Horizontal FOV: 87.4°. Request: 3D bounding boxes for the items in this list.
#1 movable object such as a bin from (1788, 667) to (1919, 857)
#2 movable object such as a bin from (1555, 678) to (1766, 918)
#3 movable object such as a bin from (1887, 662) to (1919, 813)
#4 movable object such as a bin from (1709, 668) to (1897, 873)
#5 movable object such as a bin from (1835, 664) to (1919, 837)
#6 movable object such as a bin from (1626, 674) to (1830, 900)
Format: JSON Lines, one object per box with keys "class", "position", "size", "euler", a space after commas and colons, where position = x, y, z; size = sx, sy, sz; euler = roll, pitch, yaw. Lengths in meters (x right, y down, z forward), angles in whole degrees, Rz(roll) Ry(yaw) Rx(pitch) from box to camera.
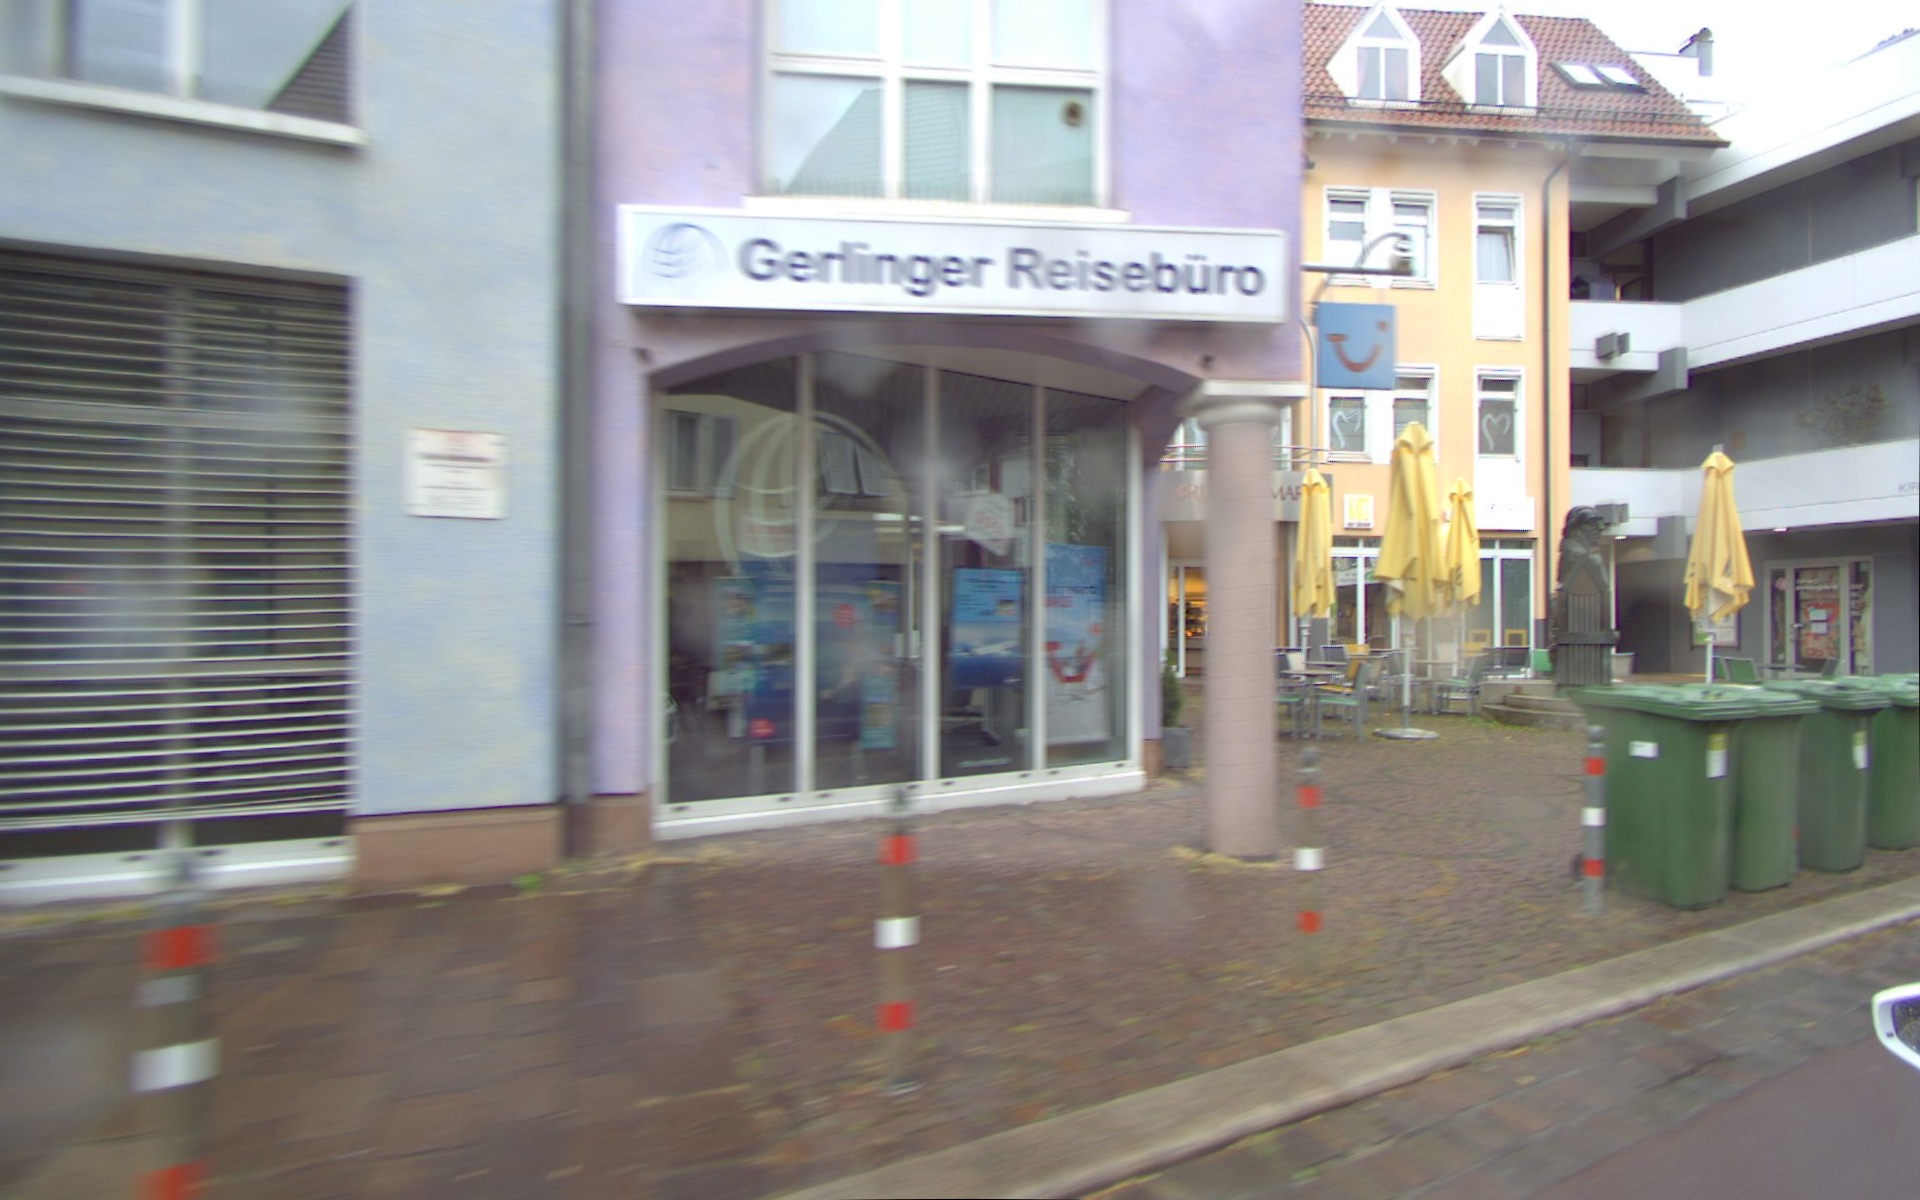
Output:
{"class": "movable object such as a bin", "position": [6.020, 1.022, 6.613], "size": [0.661, 1.120, 0.683], "euler": [1, -1, -29]}
{"class": "movable object such as a bin", "position": [3.660, 0.983, 5.268], "size": [0.669, 1.092, 0.683], "euler": [1, -1, -29]}
{"class": "movable object such as a bin", "position": [7.364, 1.016, 7.352], "size": [0.661, 1.088, 0.683], "euler": [1, -1, -29]}
{"class": "movable object such as a bin", "position": [5.075, 0.982, 6.062], "size": [0.661, 1.095, 0.683], "euler": [1, -1, -29]}
{"class": "movable object such as a bin", "position": [6.644, 1.030, 6.968], "size": [0.661, 1.120, 0.683], "euler": [1, -1, -29]}
{"class": "movable object such as a bin", "position": [4.284, 0.992, 5.620], "size": [0.704, 1.101, 0.683], "euler": [1, -1, -29]}
